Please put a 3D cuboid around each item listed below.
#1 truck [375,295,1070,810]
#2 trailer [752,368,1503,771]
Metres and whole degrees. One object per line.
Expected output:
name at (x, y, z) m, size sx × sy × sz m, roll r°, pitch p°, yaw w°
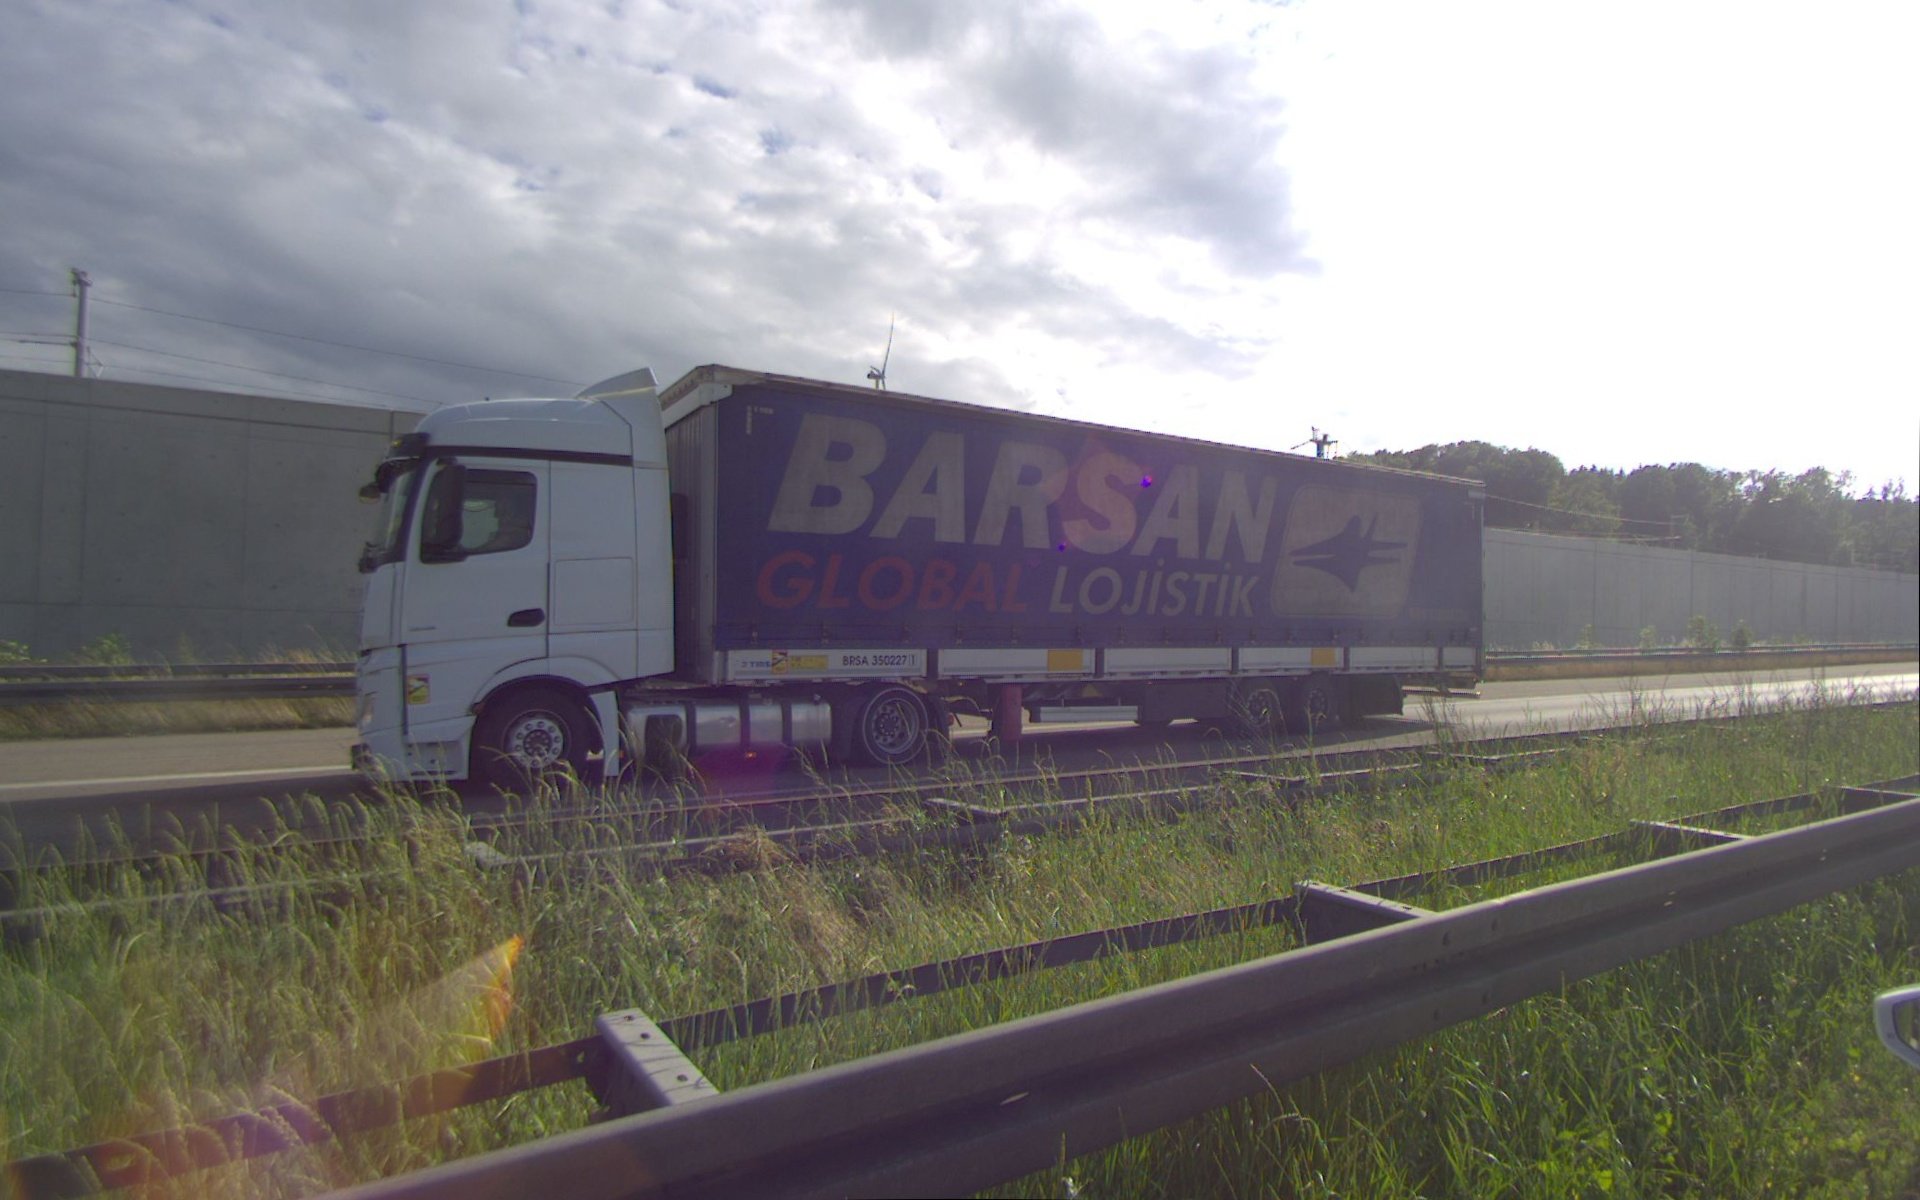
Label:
truck at (-2.361, -0.298, 11.081) m, size 6.926 × 4.152 × 2.623 m, roll 2°, pitch 0°, yaw -32°
trailer at (3.297, -0.153, 14.774) m, size 12.264 × 4.135 × 2.638 m, roll 2°, pitch 0°, yaw -33°
